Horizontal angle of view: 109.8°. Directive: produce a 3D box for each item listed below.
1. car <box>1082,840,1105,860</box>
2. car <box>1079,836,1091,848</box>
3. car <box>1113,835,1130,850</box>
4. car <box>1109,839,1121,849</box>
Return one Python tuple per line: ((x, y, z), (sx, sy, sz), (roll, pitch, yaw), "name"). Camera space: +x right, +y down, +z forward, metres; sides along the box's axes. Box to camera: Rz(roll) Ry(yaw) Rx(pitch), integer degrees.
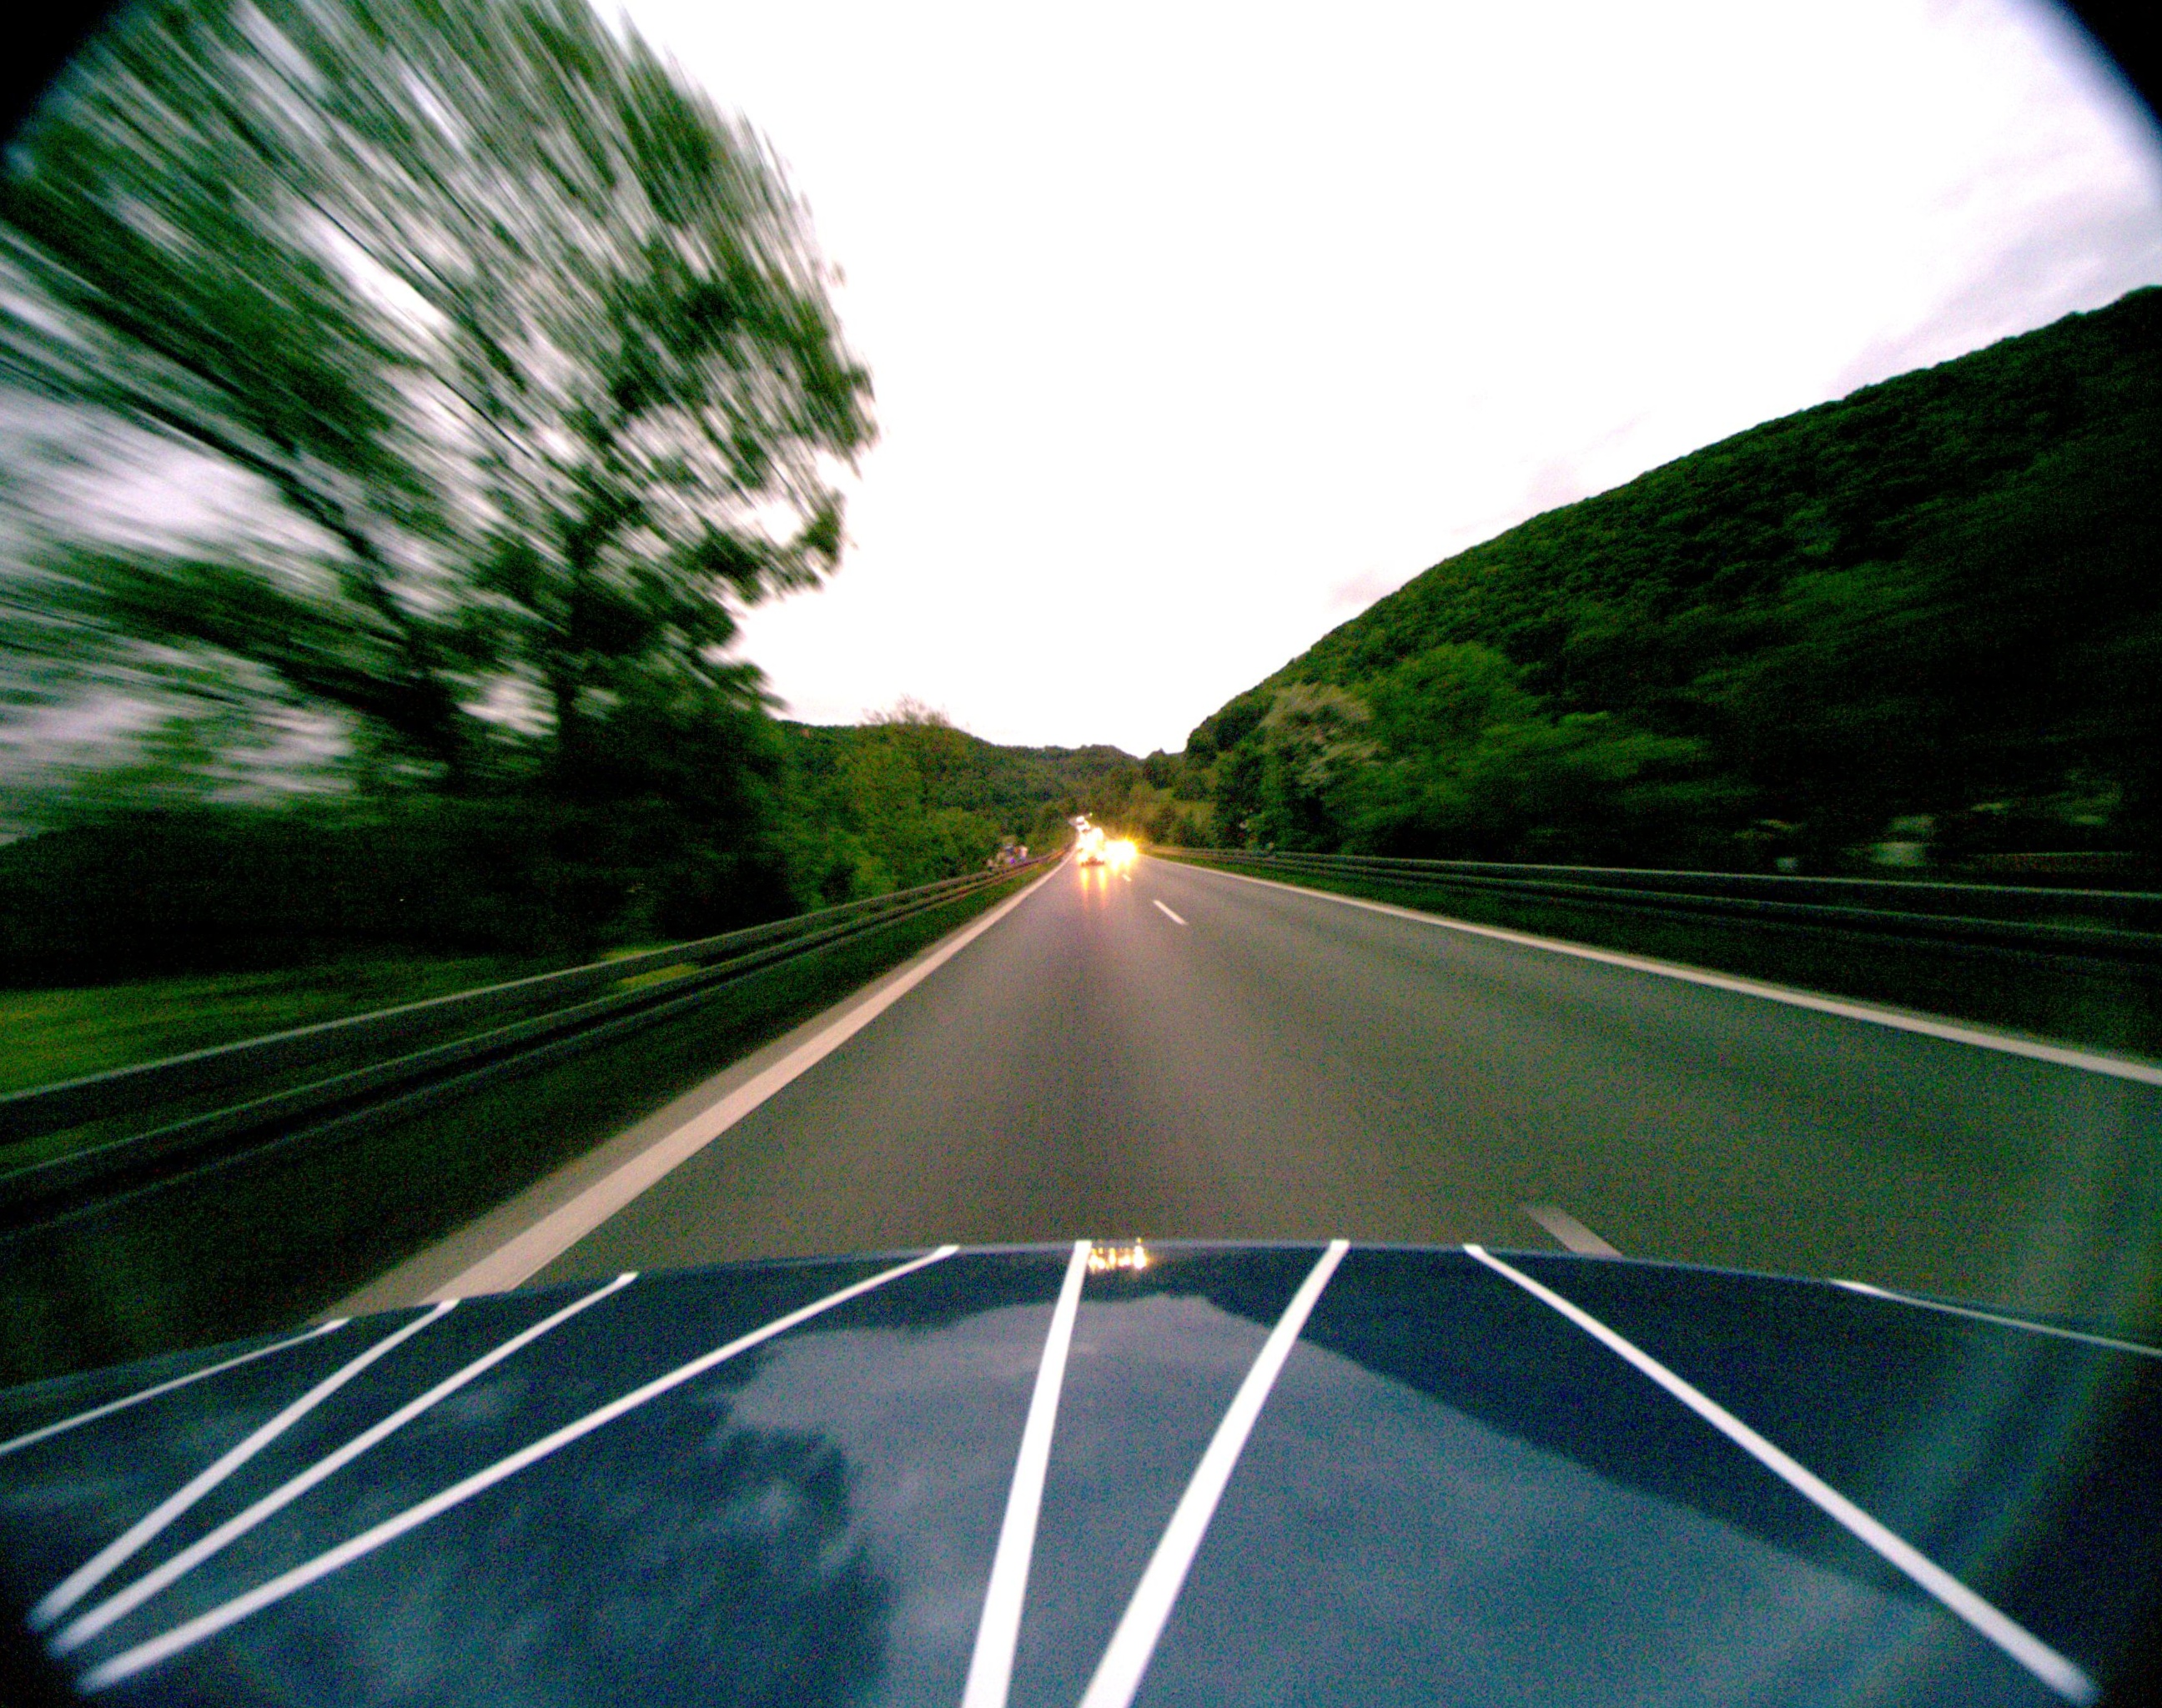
((0.968, -0.292, 60.118), (1.690, 1.443, 3.669), (-3, -1, 1), "car")
((0.691, -1.834, 118.433), (1.737, 1.641, 3.669), (-3, -1, 1), "car")
((4.524, -1.252, 85.367), (1.690, 1.459, 3.768), (-3, -1, 0), "car")
((5.330, -1.589, 119.553), (1.690, 1.425, 3.669), (-3, -1, 0), "car")
